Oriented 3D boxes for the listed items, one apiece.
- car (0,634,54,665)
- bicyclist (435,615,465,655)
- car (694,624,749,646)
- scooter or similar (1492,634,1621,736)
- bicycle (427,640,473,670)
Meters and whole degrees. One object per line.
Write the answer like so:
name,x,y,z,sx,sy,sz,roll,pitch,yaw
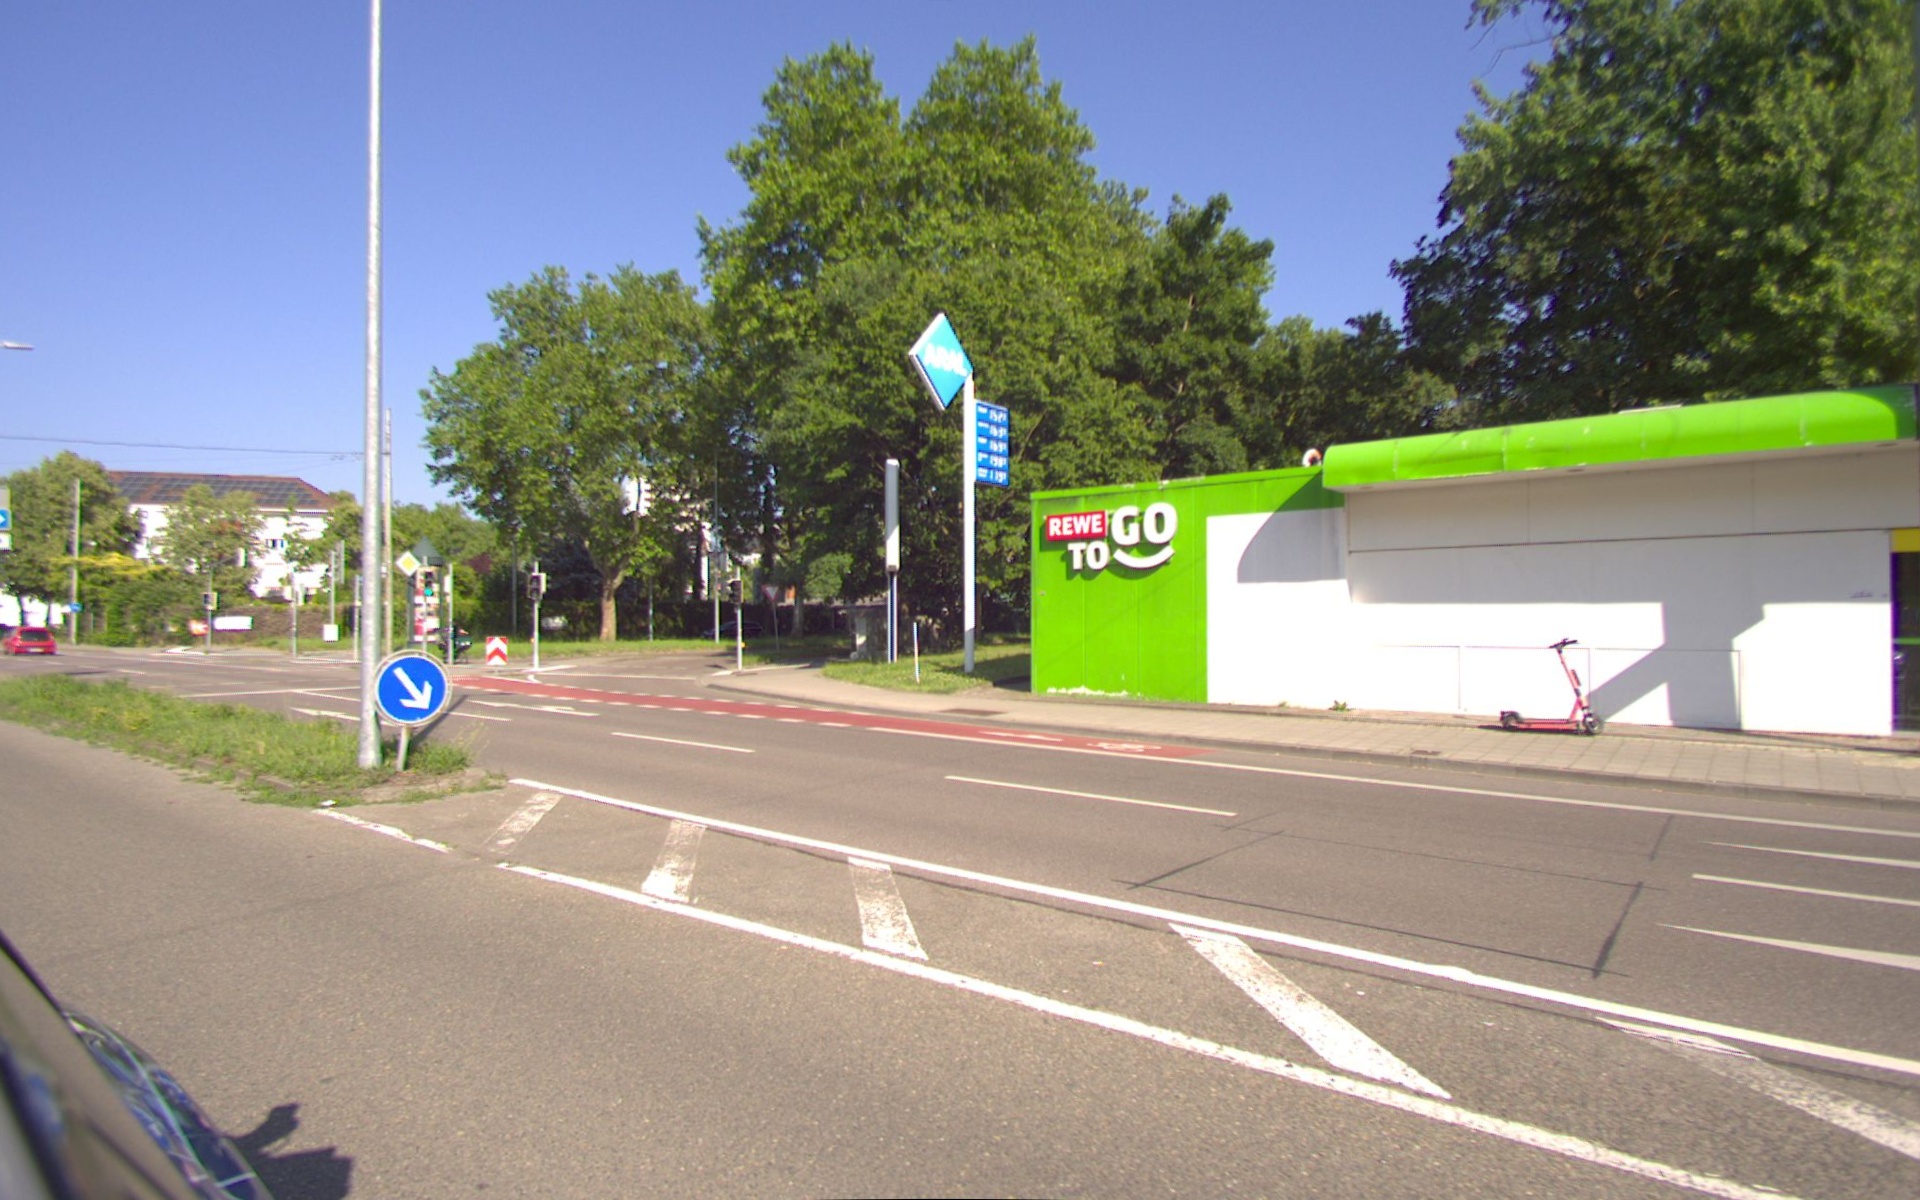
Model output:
car,-45.757,2.419,49.577,3.330,1.427,1.558,-1,-2,39
bicyclist,-19.231,1.311,38.173,1.050,1.463,0.655,-1,-2,42
car,-16.204,2.387,68.901,1.509,1.317,3.375,-1,1,45
scooter or similar,7.570,1.049,12.866,1.309,1.182,0.527,-1,3,42
bicycle,-19.220,2.051,38.143,2.579,1.057,0.655,-1,-2,42
